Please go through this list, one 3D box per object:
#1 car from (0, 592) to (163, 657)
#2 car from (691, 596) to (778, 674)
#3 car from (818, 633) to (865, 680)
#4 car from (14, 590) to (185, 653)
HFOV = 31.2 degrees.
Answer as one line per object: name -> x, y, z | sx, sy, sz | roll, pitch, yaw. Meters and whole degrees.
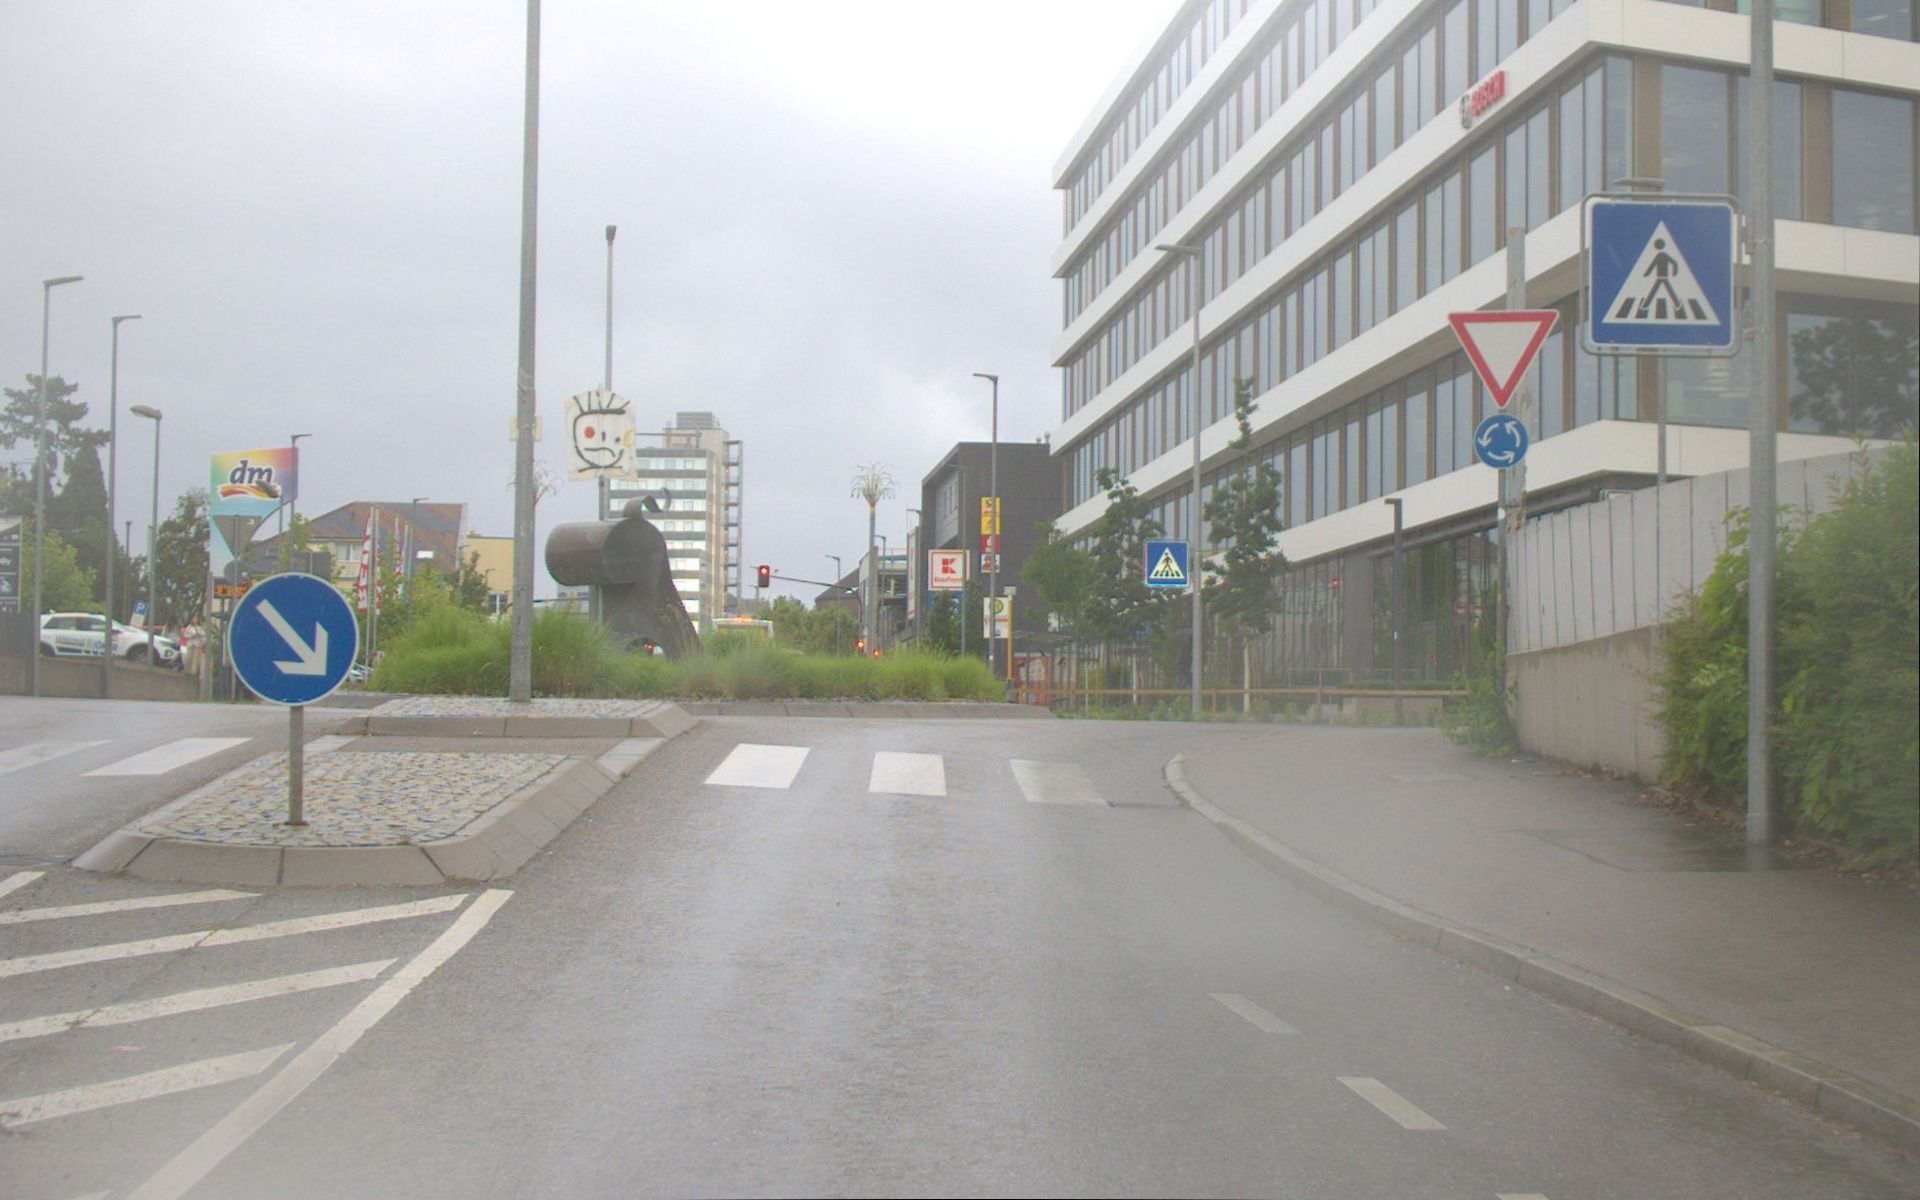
car -> -22.296, 0.630, 86.844 | 4.020, 1.415, 1.769 | 3, -3, -17
car -> -6.029, 0.965, 92.288 | 1.993, 1.897, 3.999 | 2, -2, 0
car -> -5.684, 2.713, 165.378 | 1.993, 2.007, 5.000 | 2, 1, 0
car -> -22.327, 0.564, 89.318 | 4.021, 1.415, 1.768 | 3, -2, -5
